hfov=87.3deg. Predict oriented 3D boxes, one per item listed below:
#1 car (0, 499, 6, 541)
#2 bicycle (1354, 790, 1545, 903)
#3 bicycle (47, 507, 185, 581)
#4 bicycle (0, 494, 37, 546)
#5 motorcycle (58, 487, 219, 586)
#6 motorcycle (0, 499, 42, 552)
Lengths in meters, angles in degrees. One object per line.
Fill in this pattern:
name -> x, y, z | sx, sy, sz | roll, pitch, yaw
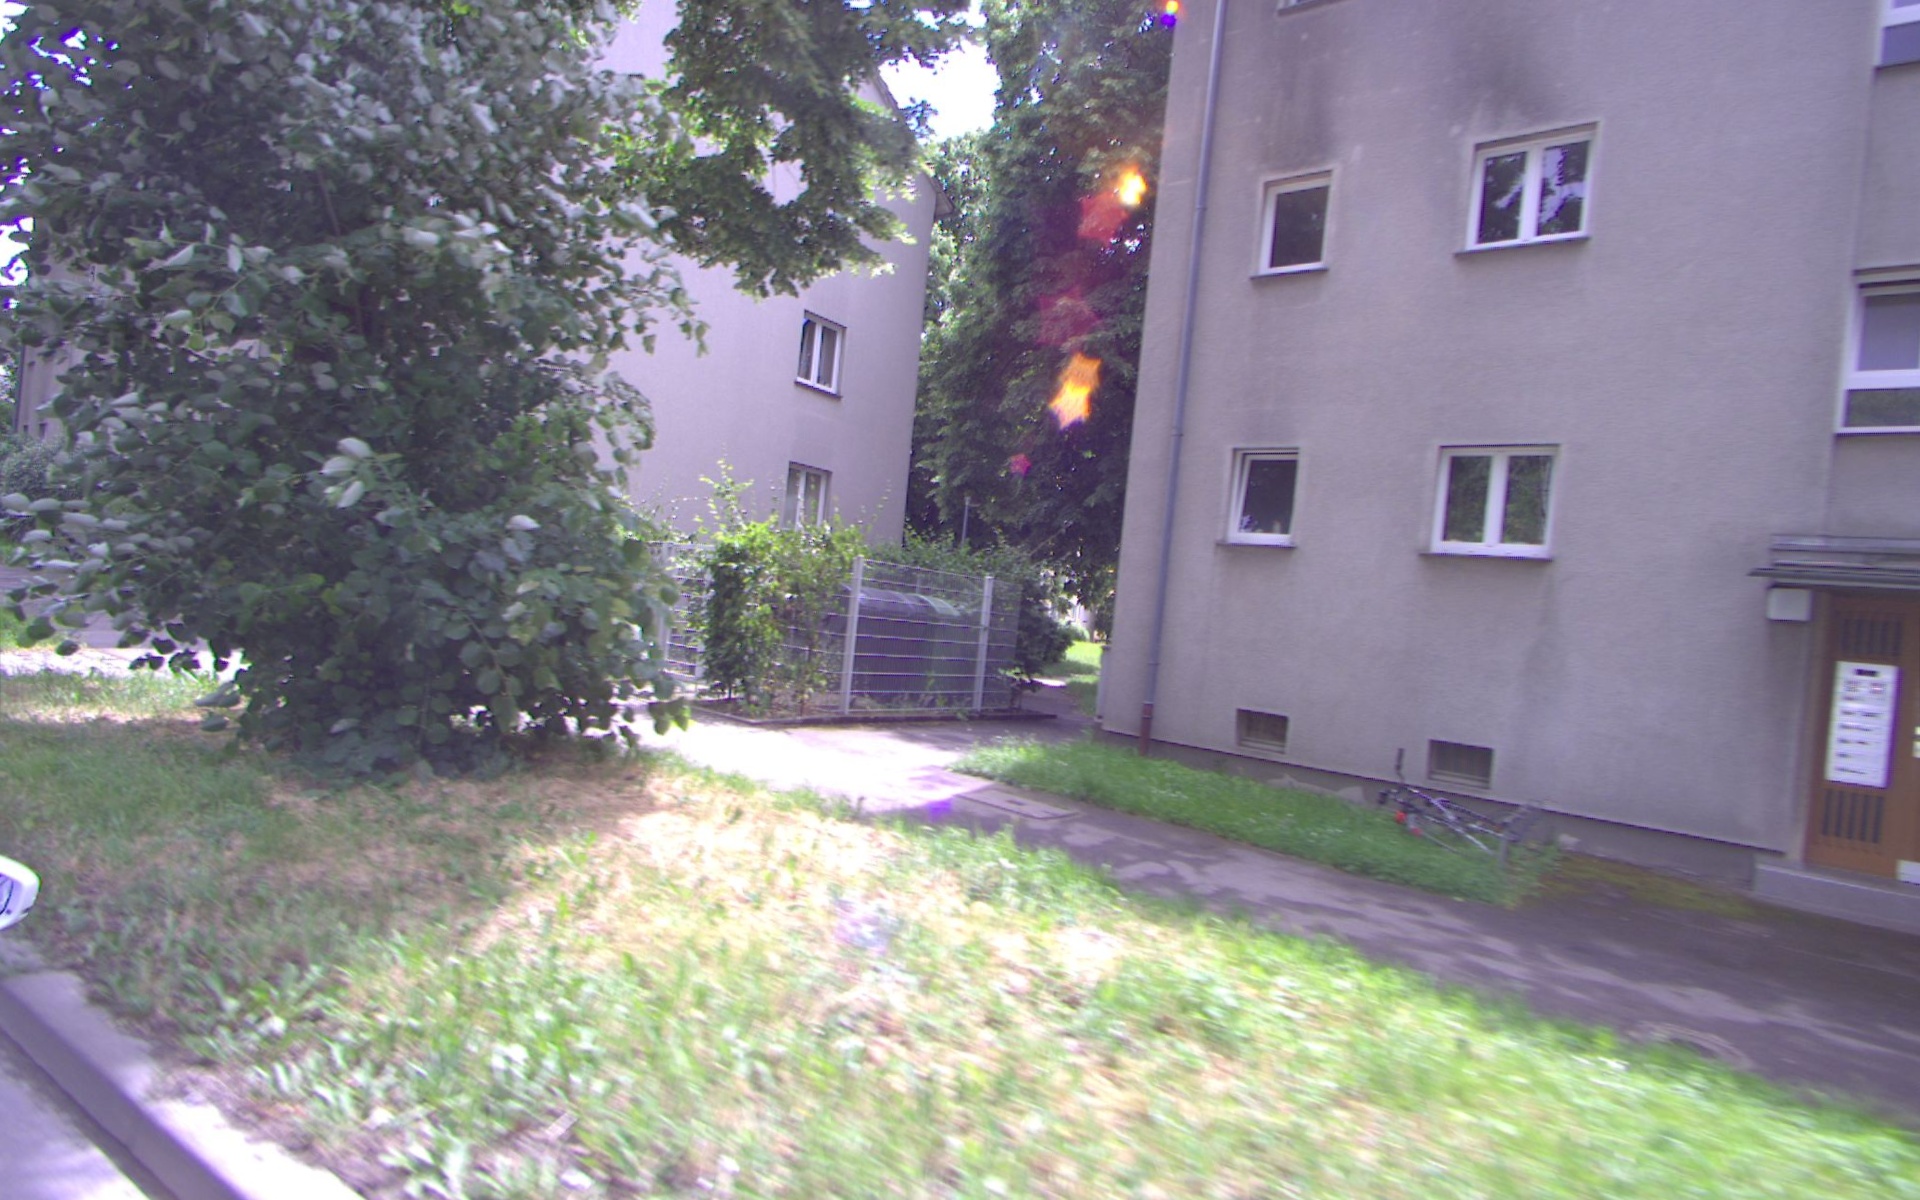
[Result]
car -> -38.370, -3.307, 37.175 | 1.904, 1.572, 3.999 | 7, -1, 24
bicycle -> 3.648, 1.748, 7.379 | 0.664, 0.513, 2.202 | 5, -3, 42
bicycle -> -15.290, -0.997, 18.272 | 0.448, 1.098, 1.797 | 7, 0, 36
bicycle -> -25.824, -2.204, 26.434 | 0.671, 1.298, 2.164 | 6, 0, 39
motorcycle -> -14.441, -1.098, 17.721 | 1.003, 1.447, 1.993 | 7, 1, 42
motorcycle -> -25.303, -2.012, 25.979 | 0.671, 1.298, 2.202 | 6, 0, 39
